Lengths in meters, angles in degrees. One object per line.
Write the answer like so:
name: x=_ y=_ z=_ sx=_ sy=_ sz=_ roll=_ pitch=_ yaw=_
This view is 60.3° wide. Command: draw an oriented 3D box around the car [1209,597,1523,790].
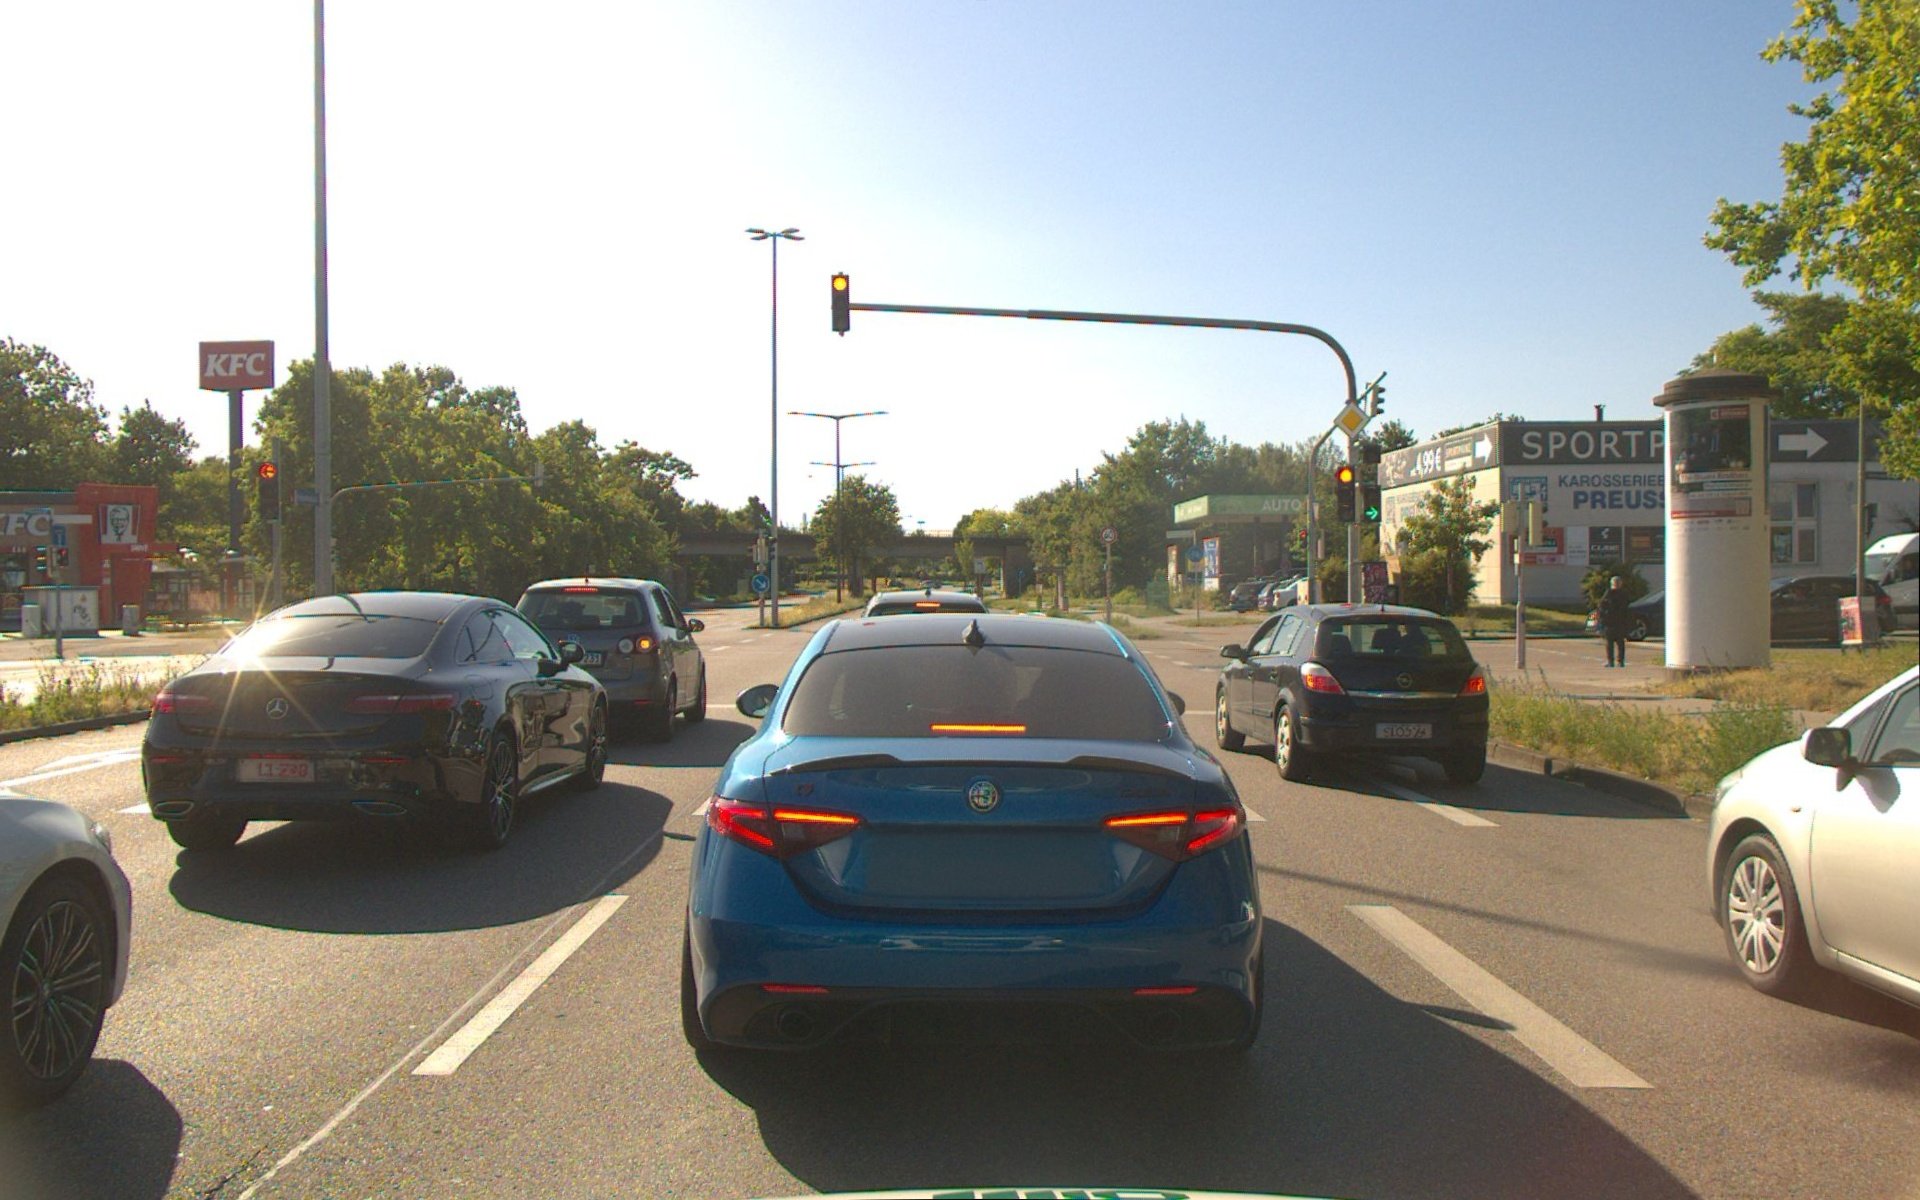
car: x=3.482 y=0.727 z=15.026 sx=1.699 sy=1.467 sz=4.370 roll=1 pitch=0 yaw=-1

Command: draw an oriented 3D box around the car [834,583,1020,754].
car: x=-0.269 y=0.632 z=16.907 sx=1.669 sy=1.523 sz=3.719 roll=1 pitch=0 yaw=1

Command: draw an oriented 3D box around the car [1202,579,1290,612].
car: x=14.387 y=-0.223 z=83.256 sx=3.925 sy=1.579 sz=1.990 roll=1 pitch=0 yaw=-18

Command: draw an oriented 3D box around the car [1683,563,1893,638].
car: x=19.674 y=0.008 z=39.394 sx=4.219 sy=1.678 sz=1.637 roll=1 pitch=0 yaw=-2

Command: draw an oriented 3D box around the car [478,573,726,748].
car: x=-3.587 y=0.564 z=17.348 sx=1.776 sy=1.578 sz=4.351 roll=1 pitch=0 yaw=-2

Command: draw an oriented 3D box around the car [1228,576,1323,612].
car: x=14.251 y=-0.263 z=74.908 sx=3.905 sy=1.579 sz=2.000 roll=1 pitch=0 yaw=0

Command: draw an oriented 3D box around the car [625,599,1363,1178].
car: x=0.116 y=0.748 z=6.102 sx=1.870 sy=1.447 sz=3.719 roll=1 pitch=0 yaw=1

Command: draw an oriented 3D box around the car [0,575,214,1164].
car: x=-3.345 y=0.695 z=3.150 sx=1.775 sy=1.512 sz=4.596 roll=0 pitch=0 yaw=0

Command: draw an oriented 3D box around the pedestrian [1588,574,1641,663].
pedestrian: x=12.666 y=0.361 z=32.037 sx=0.800 sy=1.698 sz=0.514 roll=1 pitch=-1 yaw=-1

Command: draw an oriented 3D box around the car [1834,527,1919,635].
car: x=26.122 y=-0.526 z=42.963 sx=5.715 sy=2.719 sz=2.000 roll=-1 pitch=-1 yaw=0

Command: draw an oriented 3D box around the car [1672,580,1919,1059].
car: x=4.022 y=0.734 z=5.173 sx=1.747 sy=1.564 sz=4.107 roll=1 pitch=0 yaw=-1

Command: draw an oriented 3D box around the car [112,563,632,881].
car: x=-3.391 y=0.602 z=10.554 sx=1.775 sy=1.578 sz=4.542 roll=1 pitch=0 yaw=-1

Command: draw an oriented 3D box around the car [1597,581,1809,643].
car: x=19.212 y=0.315 z=42.885 sx=4.722 sy=1.493 sz=1.758 roll=1 pitch=0 yaw=-3
